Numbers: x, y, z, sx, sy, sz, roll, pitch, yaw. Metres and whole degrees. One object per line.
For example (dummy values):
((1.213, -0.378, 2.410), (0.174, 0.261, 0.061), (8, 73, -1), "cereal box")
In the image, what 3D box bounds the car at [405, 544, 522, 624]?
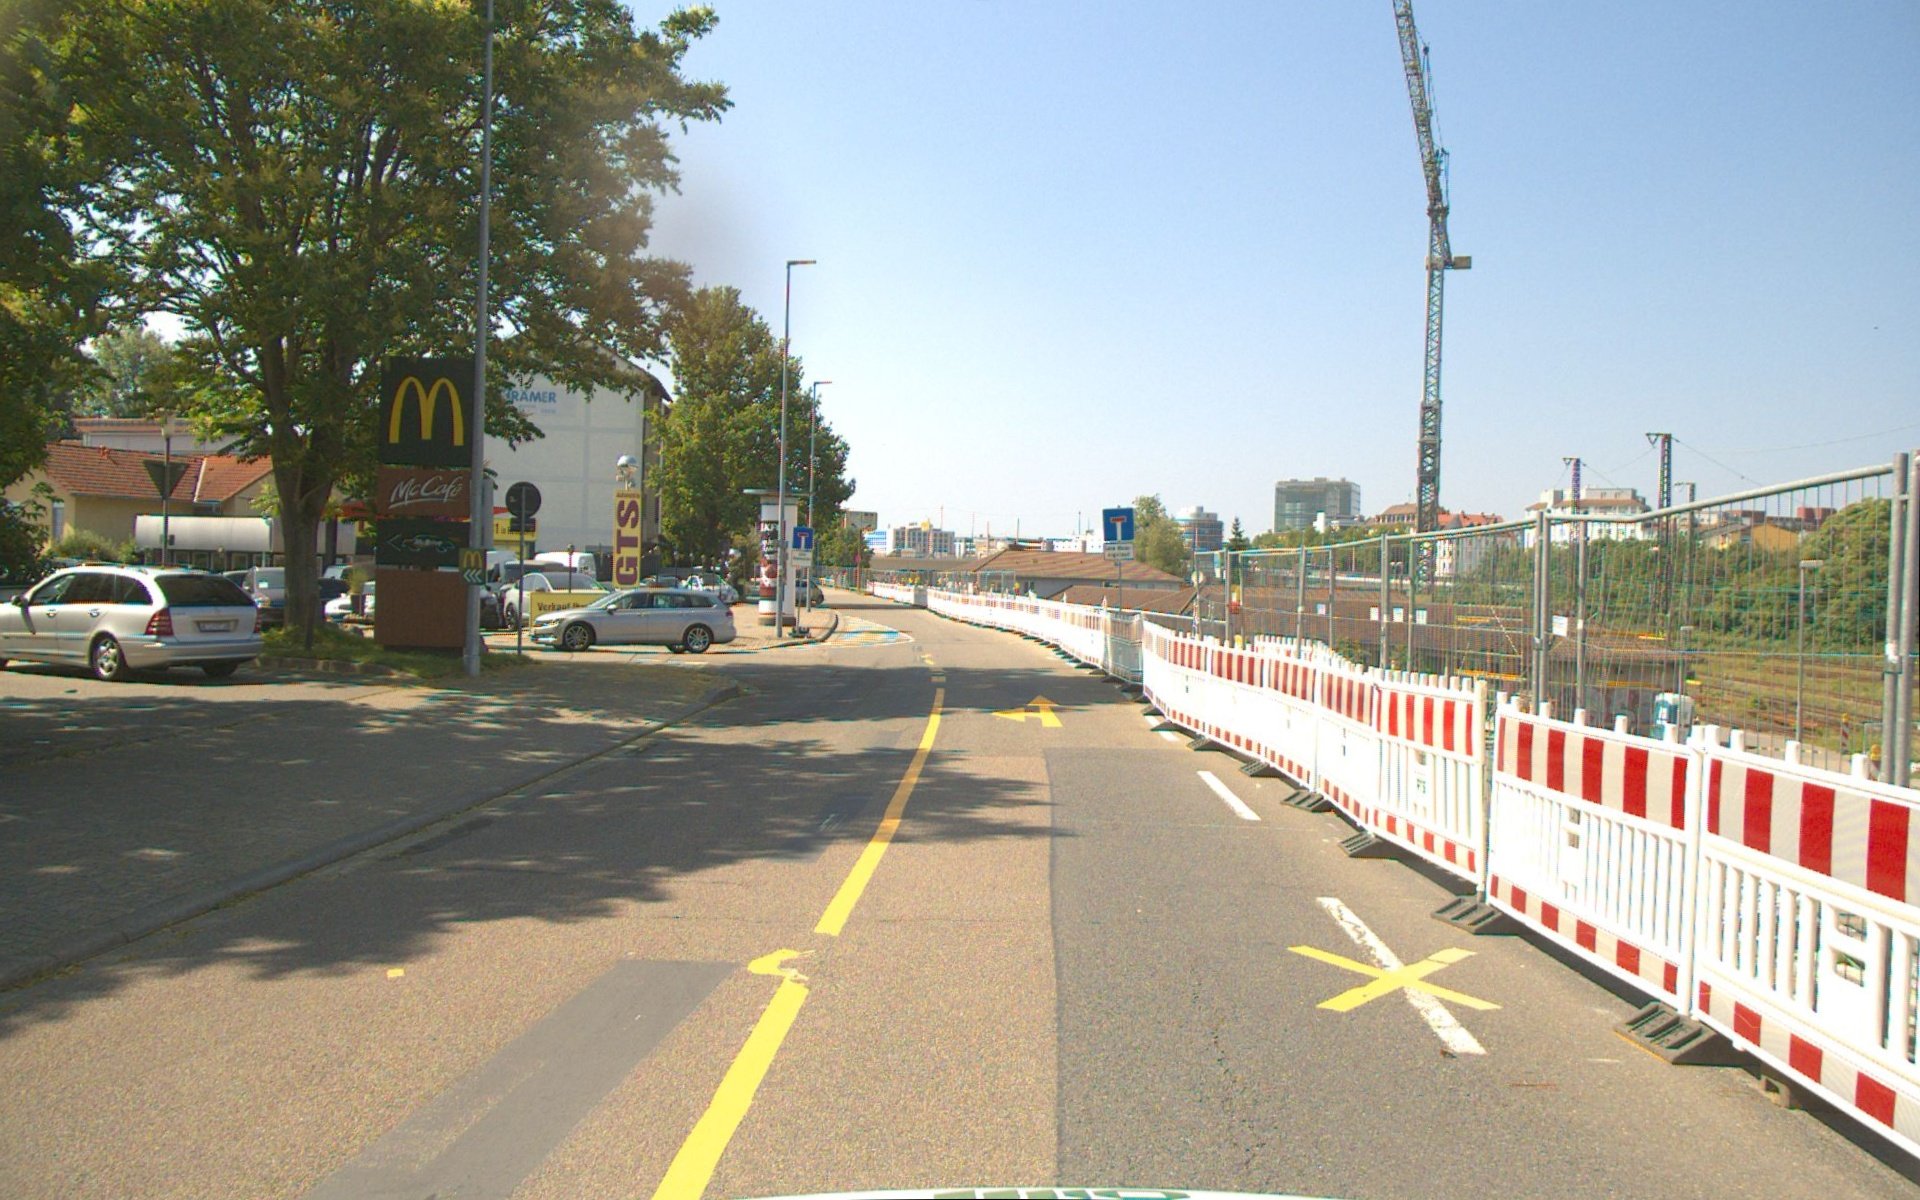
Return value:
((-18.350, -0.564, 61.526), (2.229, 2.806, 6.155), (0, 0, 2), "car")

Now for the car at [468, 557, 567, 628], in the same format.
((-15.649, -0.240, 58.741), (2.200, 2.391, 4.823), (0, -1, 0), "car")

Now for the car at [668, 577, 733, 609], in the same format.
((-12.718, -0.358, 80.910), (1.759, 1.498, 3.956), (-2, 1, -32), "car")

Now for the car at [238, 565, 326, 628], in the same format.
((-19.205, -0.130, 46.770), (1.785, 1.685, 4.272), (-1, 1, -29), "car")

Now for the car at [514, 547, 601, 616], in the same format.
((-15.840, -0.679, 65.423), (2.202, 2.472, 5.714), (4, -1, -4), "car")

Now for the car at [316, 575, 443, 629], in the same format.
((-18.487, 0.019, 52.911), (1.868, 1.602, 4.691), (1, 1, 8), "car")

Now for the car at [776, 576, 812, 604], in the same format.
((-9.680, -0.583, 96.593), (1.831, 1.524, 4.031), (0, 2, -2), "car")

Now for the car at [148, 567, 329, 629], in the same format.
((-22.736, -0.071, 52.228), (4.852, 1.874, 2.129), (0, 1, -43), "car")

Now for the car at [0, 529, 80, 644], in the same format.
((-18.024, -0.188, 29.829), (4.431, 1.953, 1.887), (-2, 1, 34), "car")

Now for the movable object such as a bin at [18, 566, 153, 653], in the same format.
((-16.709, 0.175, 31.627), (1.733, 1.552, 1.456), (-1, 2, 21), "movable object such as a bin")

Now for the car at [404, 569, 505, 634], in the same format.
((-14.180, 0.059, 46.233), (2.018, 1.737, 4.277), (0, -1, -27), "car")

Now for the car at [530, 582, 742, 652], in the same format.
((-7.460, 0.375, 38.187), (4.538, 1.519, 1.667), (0, 0, -28), "car")

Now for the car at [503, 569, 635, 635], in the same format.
((-11.415, 0.082, 48.073), (1.962, 1.736, 4.598), (-1, -1, -39), "car")

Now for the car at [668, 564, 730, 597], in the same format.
((-17.040, -1.263, 108.051), (3.854, 1.993, 1.754), (2, 0, -12), "car")

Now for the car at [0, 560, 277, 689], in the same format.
((-10.939, 0.251, 21.392), (4.293, 1.428, 1.710), (2, 2, 31), "car")
